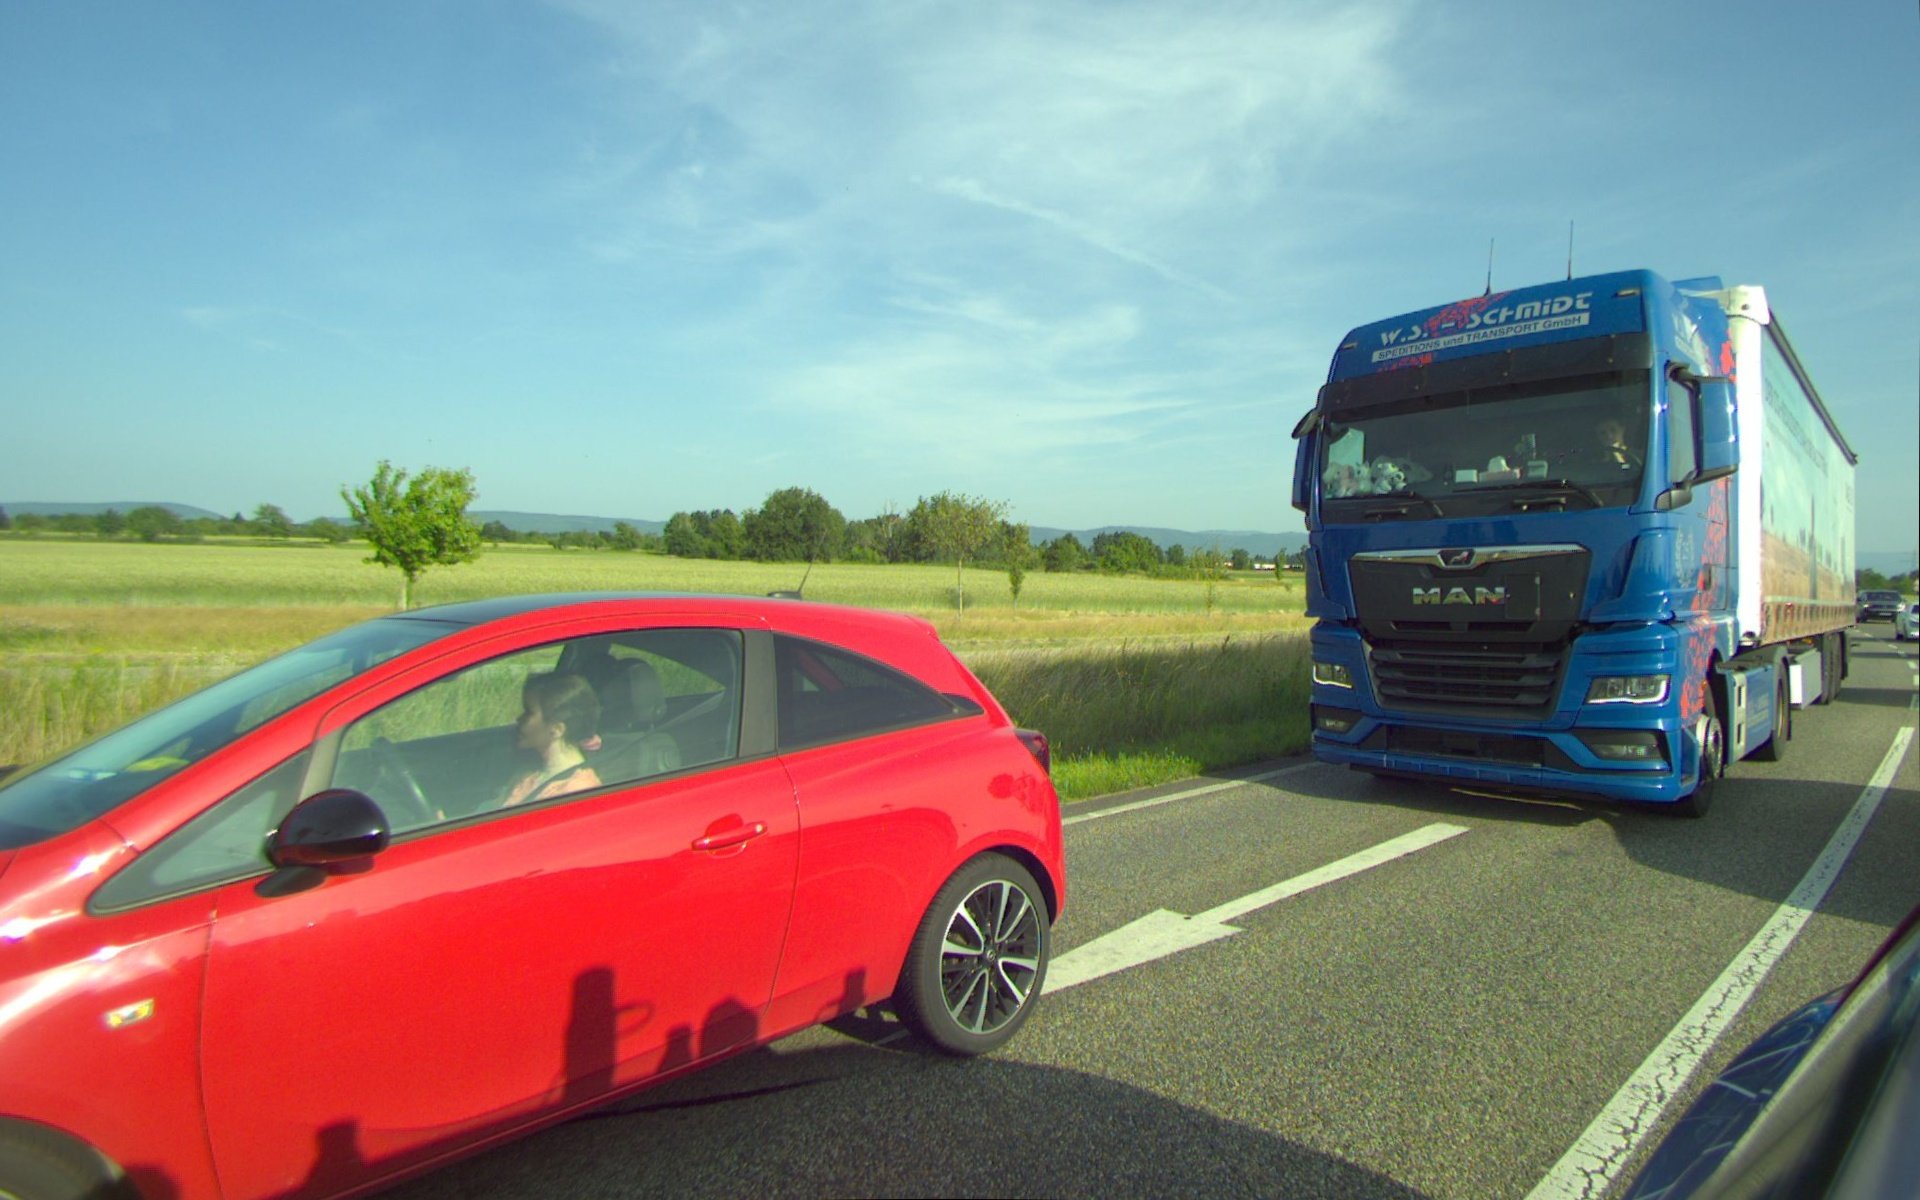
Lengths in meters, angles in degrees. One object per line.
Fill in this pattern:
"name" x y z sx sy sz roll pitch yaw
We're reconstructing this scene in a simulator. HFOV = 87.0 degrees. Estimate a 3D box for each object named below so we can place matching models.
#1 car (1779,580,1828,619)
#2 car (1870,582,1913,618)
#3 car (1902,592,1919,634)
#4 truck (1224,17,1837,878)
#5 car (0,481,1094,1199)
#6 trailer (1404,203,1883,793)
"car" 46.172 -0.066 55.407 1.991 2.039 3.942 1 1 40
"car" 53.086 -0.013 57.723 1.551 1.944 3.977 2 1 40
"car" 34.305 0.452 35.557 1.551 1.417 3.977 2 2 40
"truck" 5.185 -0.882 8.744 3.301 4.716 5.640 0 1 44
"car" -1.441 0.568 2.874 3.689 1.568 1.698 0 2 -44
"trailer" 10.249 -0.942 13.951 3.282 4.739 12.939 0 1 44
